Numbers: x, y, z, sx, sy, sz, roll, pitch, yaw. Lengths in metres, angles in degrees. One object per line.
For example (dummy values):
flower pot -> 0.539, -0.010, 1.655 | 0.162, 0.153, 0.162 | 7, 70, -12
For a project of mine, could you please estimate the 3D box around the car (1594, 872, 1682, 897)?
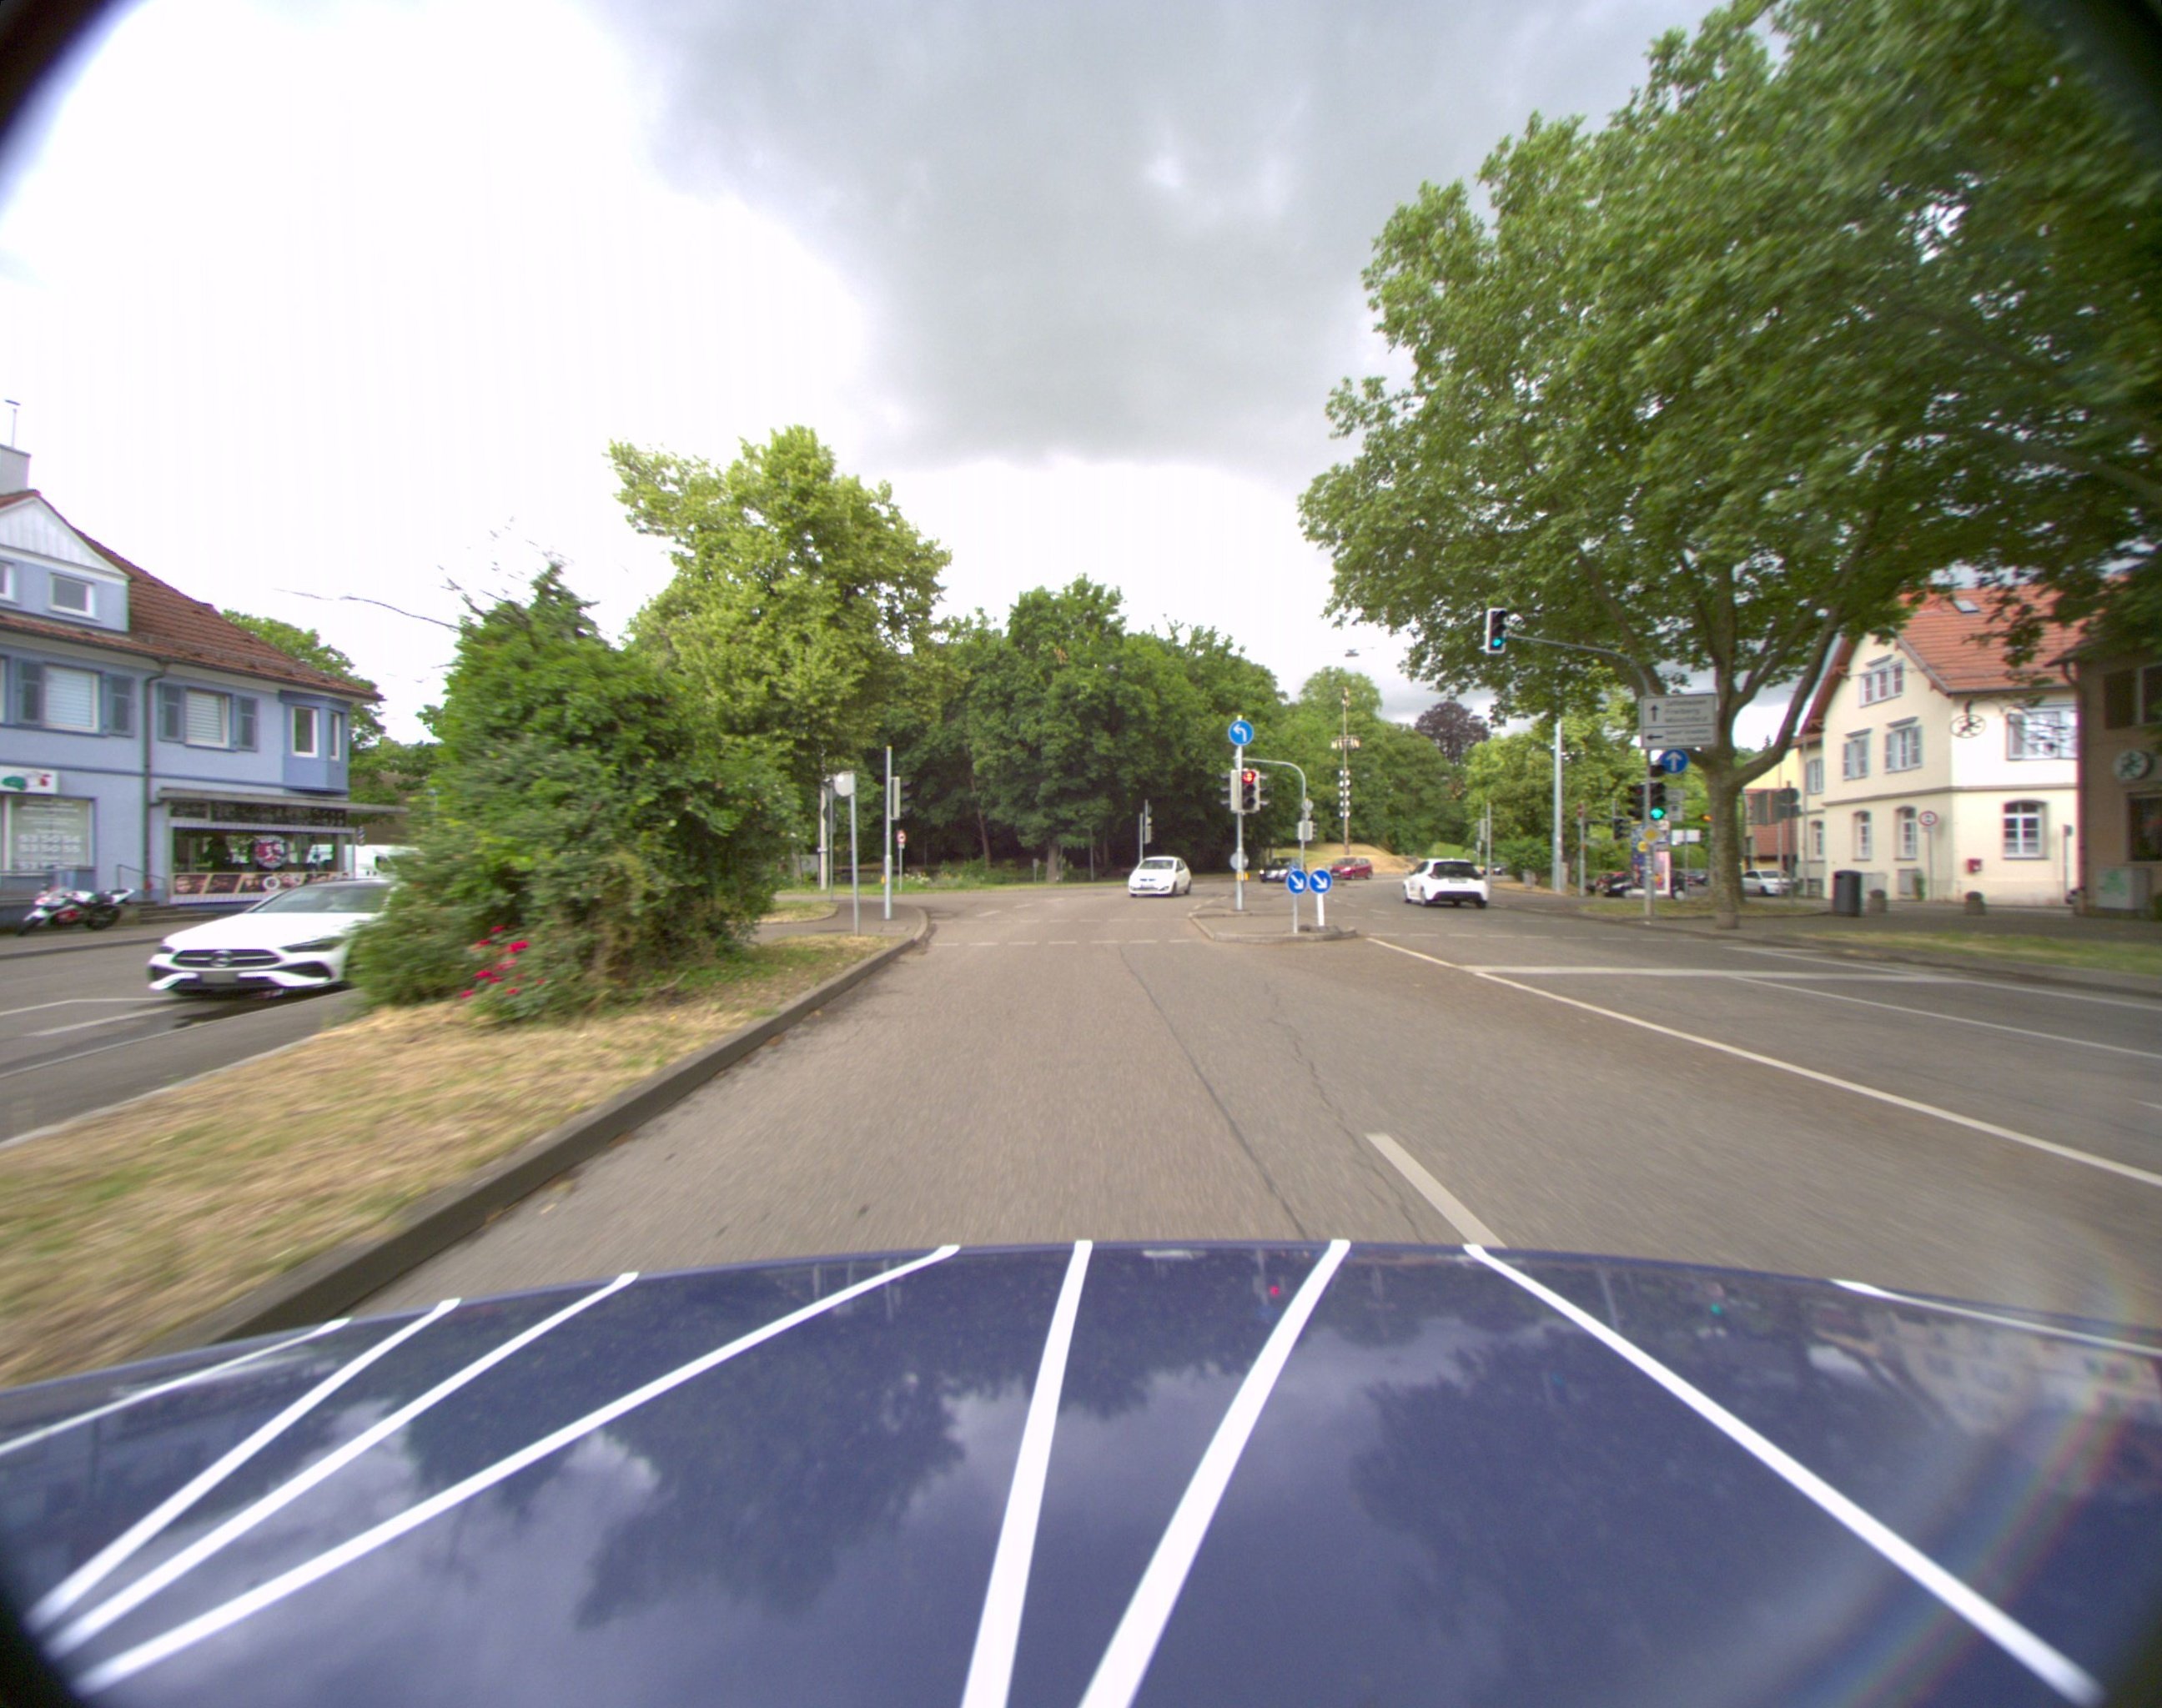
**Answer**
car -> 30.921, 1.679, 42.244 | 3.625, 1.345, 1.600 | 0, 0, 7

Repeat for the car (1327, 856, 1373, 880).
car -> 19.537, 0.969, 55.120 | 1.671, 1.632, 4.109 | 1, 1, 43

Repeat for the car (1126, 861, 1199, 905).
car -> 3.132, 1.024, 28.613 | 1.625, 1.499, 4.007 | 0, 0, 23

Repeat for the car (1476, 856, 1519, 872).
car -> 39.776, 0.970, 72.482 | 4.007, 1.449, 1.851 | 0, 1, -32

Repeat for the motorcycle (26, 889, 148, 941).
motorcycle -> -21.881, 1.318, 16.782 | 0.522, 0.980, 1.821 | 0, 0, -9

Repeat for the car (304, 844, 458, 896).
car -> -33.635, 0.751, 36.564 | 5.949, 2.378, 2.338 | 0, 0, 11

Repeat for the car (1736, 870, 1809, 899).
car -> 38.665, 1.681, 42.559 | 1.650, 1.483, 3.486 | 0, 0, 16

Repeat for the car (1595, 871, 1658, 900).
car -> 27.177, 1.557, 37.830 | 3.406, 1.302, 1.480 | 2, 0, -35

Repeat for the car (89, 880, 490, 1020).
car -> -10.954, 1.175, 11.173 | 2.001, 1.378, 4.780 | 0, 0, -17

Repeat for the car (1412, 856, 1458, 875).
car -> 30.467, 0.946, 65.357 | 4.007, 1.559, 1.779 | 0, 1, -35

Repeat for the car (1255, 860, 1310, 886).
car -> 12.383, 1.118, 46.577 | 1.726, 1.512, 4.009 | 0, 1, 39

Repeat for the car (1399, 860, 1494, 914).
car -> 11.248, 0.950, 23.672 | 1.765, 1.458, 4.026 | 1, 0, 12
